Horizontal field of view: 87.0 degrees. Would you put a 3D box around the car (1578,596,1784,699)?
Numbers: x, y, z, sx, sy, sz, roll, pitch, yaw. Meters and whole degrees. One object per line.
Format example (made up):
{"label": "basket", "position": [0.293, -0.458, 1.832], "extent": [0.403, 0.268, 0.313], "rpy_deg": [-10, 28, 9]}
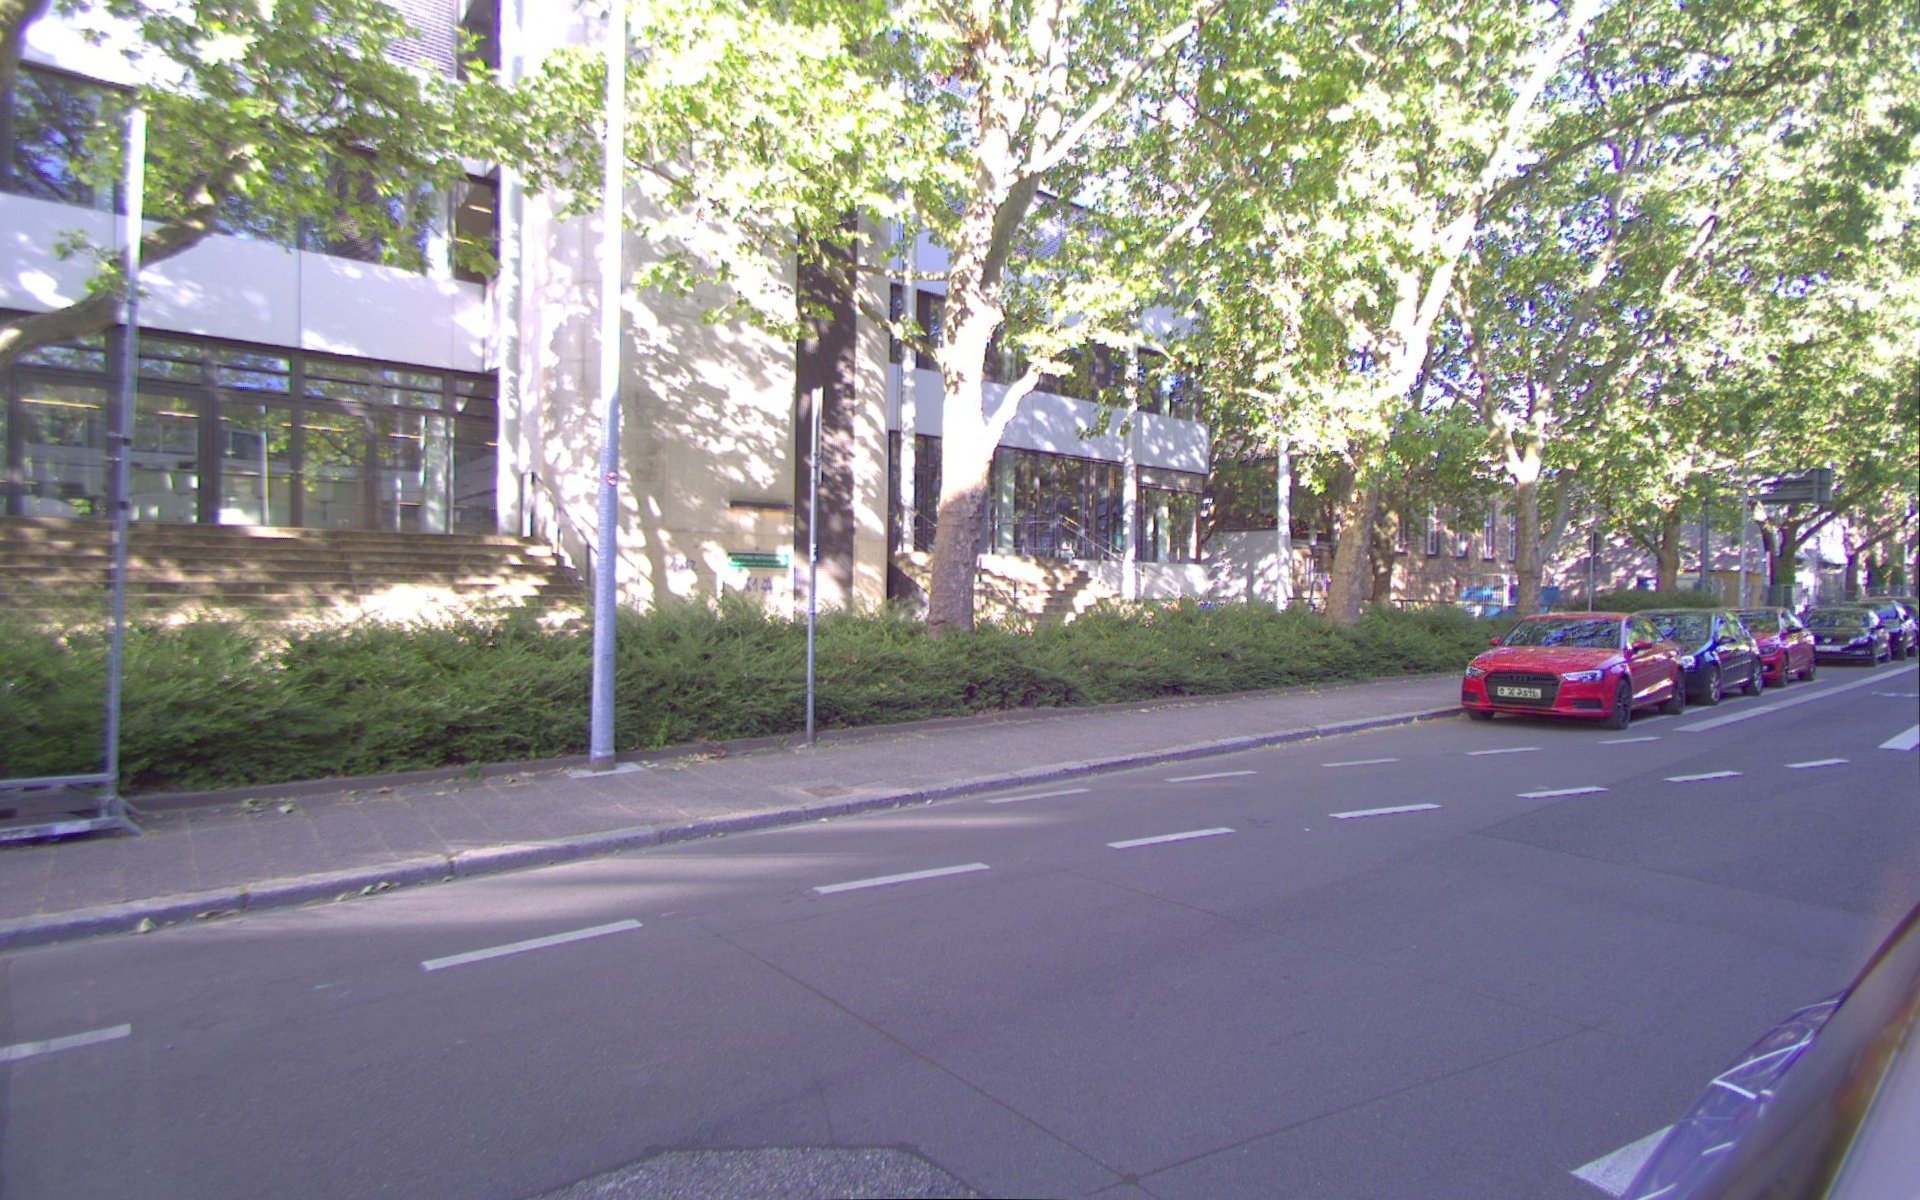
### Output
{"label": "car", "position": [11.880, 0.682, 16.599], "extent": [3.929, 1.475, 1.812], "rpy_deg": [0, 1, -40]}

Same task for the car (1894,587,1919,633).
{"label": "car", "position": [35.739, 0.364, 37.079], "extent": [4.004, 1.638, 1.797], "rpy_deg": [0, 1, -41]}

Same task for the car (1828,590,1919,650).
{"label": "car", "position": [26.646, 0.526, 29.196], "extent": [4.158, 1.601, 1.847], "rpy_deg": [0, 1, -41]}

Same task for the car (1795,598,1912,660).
{"label": "car", "position": [22.982, 0.682, 25.999], "extent": [3.930, 1.456, 1.744], "rpy_deg": [0, 1, -41]}

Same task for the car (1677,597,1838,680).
{"label": "car", "position": [15.793, 0.680, 19.986], "extent": [3.930, 1.456, 1.789], "rpy_deg": [0, 1, -41]}

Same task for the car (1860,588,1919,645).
{"label": "car", "position": [31.081, 0.483, 33.057], "extent": [4.188, 1.747, 1.997], "rpy_deg": [-1, 0, -41]}

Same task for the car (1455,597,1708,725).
{"label": "car", "position": [8.356, 0.687, 13.466], "extent": [4.101, 1.443, 1.773], "rpy_deg": [0, -1, -42]}
